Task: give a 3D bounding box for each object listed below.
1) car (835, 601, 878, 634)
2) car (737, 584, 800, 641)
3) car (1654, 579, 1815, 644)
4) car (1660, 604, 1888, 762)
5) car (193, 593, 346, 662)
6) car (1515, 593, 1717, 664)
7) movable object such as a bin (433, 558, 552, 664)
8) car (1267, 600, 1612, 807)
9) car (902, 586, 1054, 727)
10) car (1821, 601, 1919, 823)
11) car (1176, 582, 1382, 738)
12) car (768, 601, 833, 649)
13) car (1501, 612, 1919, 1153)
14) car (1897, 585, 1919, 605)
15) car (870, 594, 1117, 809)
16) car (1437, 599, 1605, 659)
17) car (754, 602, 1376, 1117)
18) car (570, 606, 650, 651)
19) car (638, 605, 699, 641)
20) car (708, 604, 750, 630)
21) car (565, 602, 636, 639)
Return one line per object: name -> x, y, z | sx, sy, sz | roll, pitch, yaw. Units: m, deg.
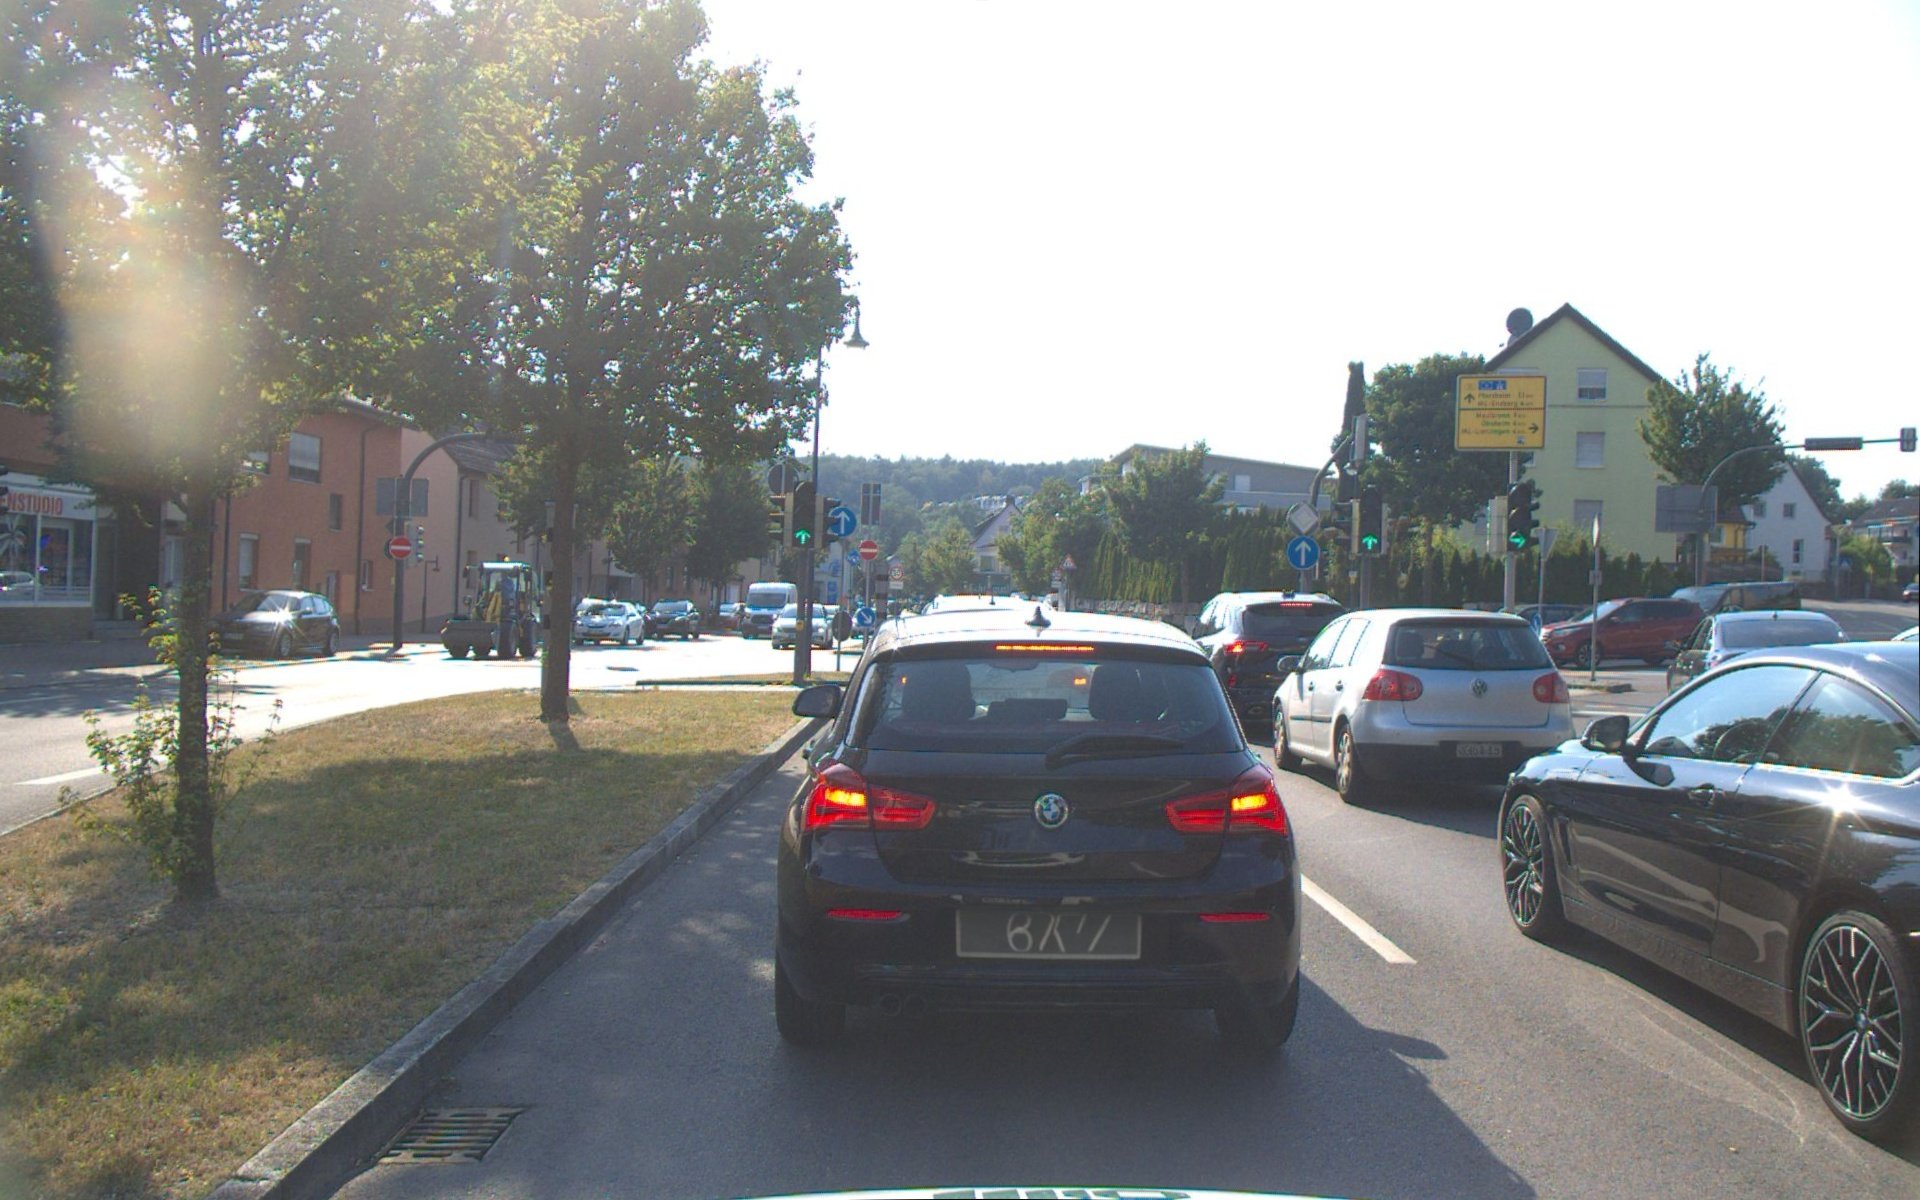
car -> -4.890, 0.820, 78.829 | 1.801, 1.508, 4.000 | 1, 0, 0
car -> -8.551, 0.566, 74.418 | 2.041, 2.435, 5.529 | 1, 0, 1
car -> 22.102, 0.338, 47.135 | 4.719, 1.770, 1.829 | 1, 0, -31
car -> 9.232, 0.850, 19.083 | 1.621, 1.569, 4.401 | -1, 0, 17
car -> -15.471, 0.579, 37.286 | 1.702, 1.323, 3.999 | 5, 0, -1
car -> 16.326, 0.691, 41.247 | 4.333, 1.670, 1.845 | 1, 0, -8
movable object such as a bin -> -11.613, 0.265, 41.380 | 1.701, 2.485, 4.449 | 0, 0, 0
car -> 3.792, 0.740, 13.767 | 1.725, 1.451, 3.902 | -1, 0, 0
car -> 0.206, 0.649, 21.353 | 1.751, 1.622, 4.280 | -1, 0, 0
car -> 7.612, 0.796, 11.717 | 1.583, 1.569, 3.320 | -1, 0, 6
car -> 3.745, 0.649, 20.050 | 1.725, 1.685, 3.902 | -1, 0, 0
car -> -5.305, 0.809, 55.400 | 1.801, 1.508, 4.000 | 1, 0, 0
car -> 3.470, 0.785, 5.811 | 1.725, 1.422, 4.280 | -1, 0, 0
car -> 80.531, -0.431, 139.522 | 1.934, 1.709, 4.195 | 0, 0, 38
car -> 0.236, 0.716, 13.976 | 1.751, 1.520, 4.280 | -1, 0, 0
car -> 15.170, 0.765, 44.826 | 3.907, 1.515, 1.847 | 1, 0, -3
car -> 0.295, 0.735, 6.831 | 1.751, 1.422, 4.280 | -1, 0, 0
car -> -12.063, 0.955, 57.195 | 1.701, 1.323, 3.800 | 5, 0, 2
car -> -12.280, 0.954, 69.890 | 1.701, 1.323, 3.800 | 5, 0, 2
car -> -13.535, 0.959, 96.925 | 1.701, 1.323, 3.800 | 5, 0, 2
car -> -14.496, 0.813, 66.900 | 1.701, 1.323, 4.001 | 5, 0, 3
